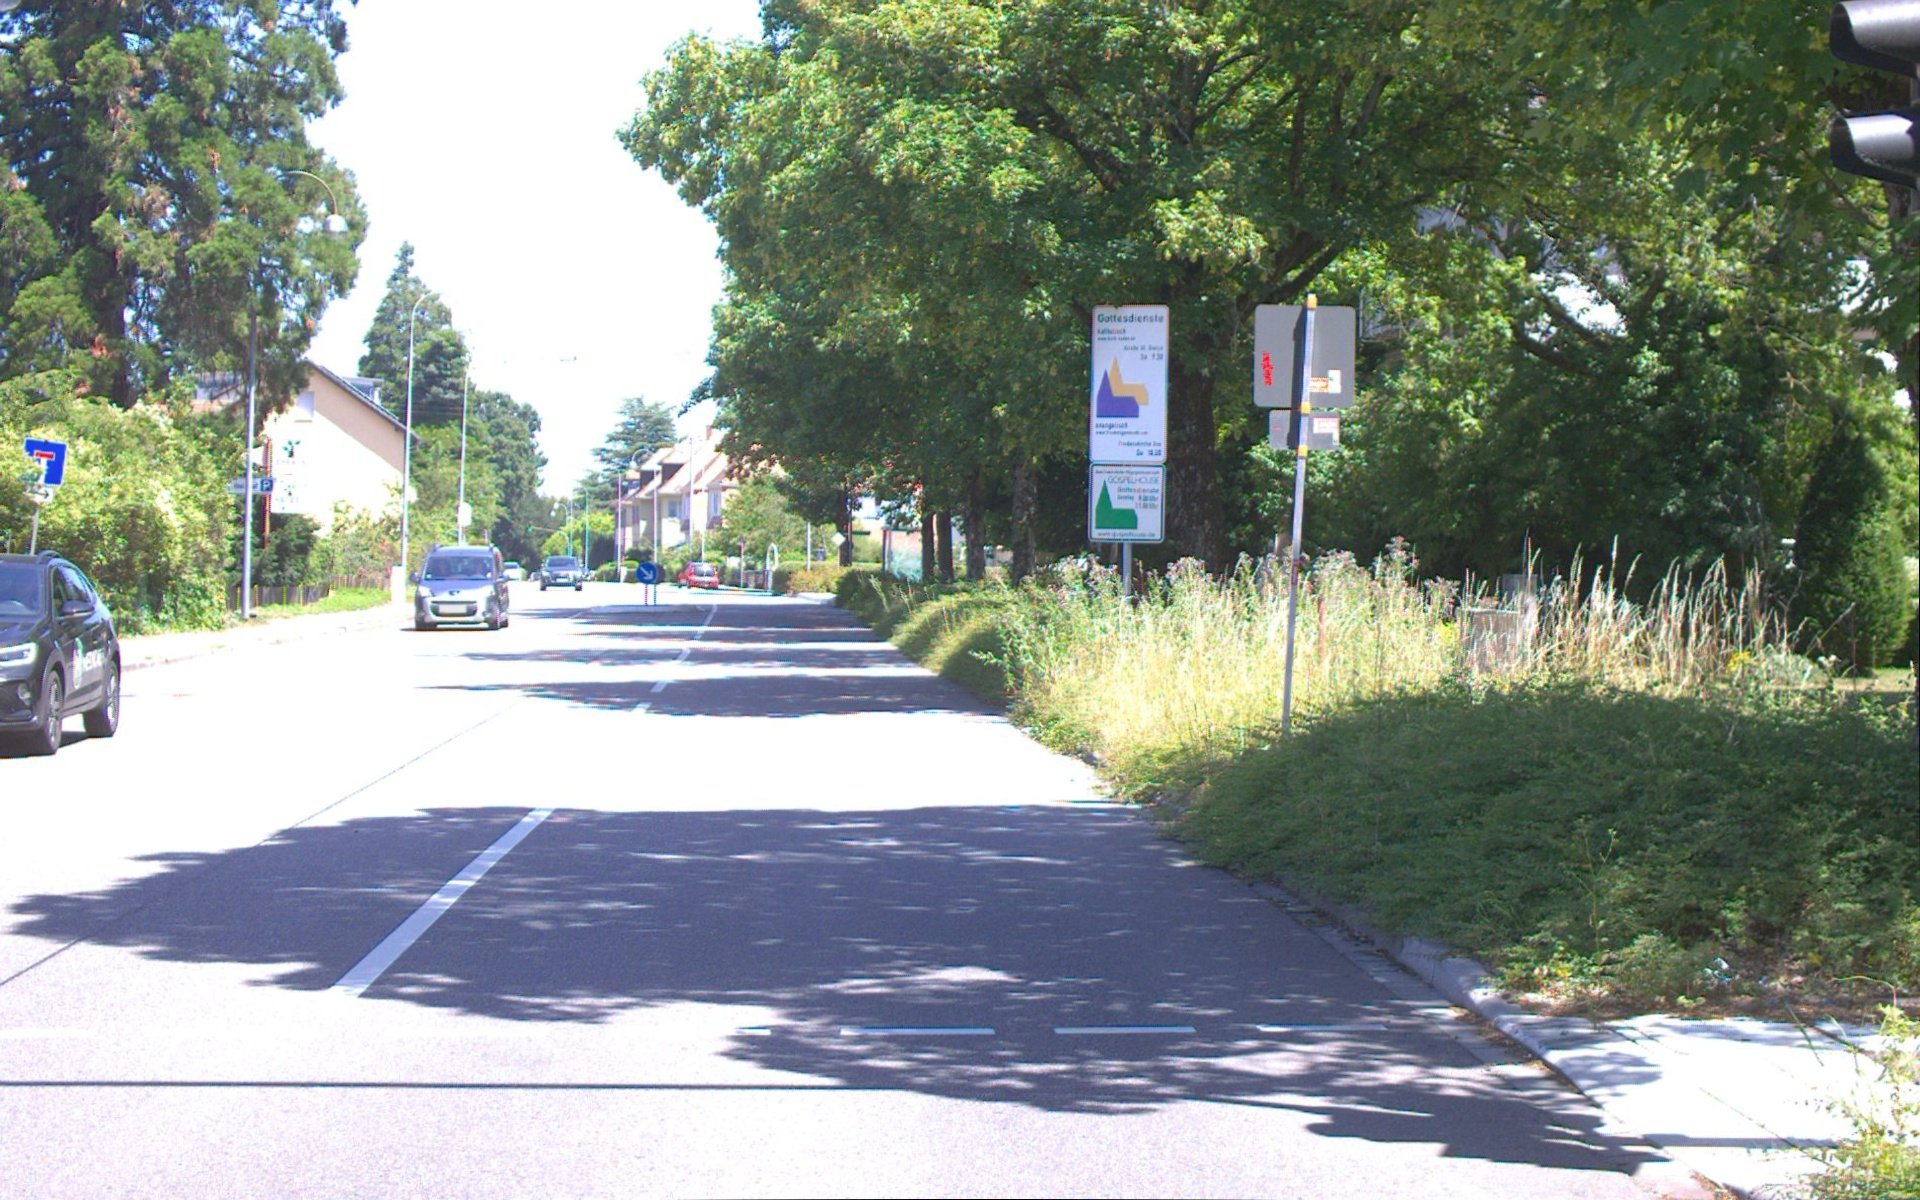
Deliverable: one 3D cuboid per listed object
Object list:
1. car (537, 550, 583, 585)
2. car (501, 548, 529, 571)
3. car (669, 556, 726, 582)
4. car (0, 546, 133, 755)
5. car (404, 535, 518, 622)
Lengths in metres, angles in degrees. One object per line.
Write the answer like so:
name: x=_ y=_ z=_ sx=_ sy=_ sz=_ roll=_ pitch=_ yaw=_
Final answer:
car: x=-17.980 y=-1.471 z=154.605 sx=1.793 sy=1.531 sz=4.316 roll=0 pitch=1 yaw=-3
car: x=-33.604 y=-3.045 z=259.570 sx=1.680 sy=1.678 sz=4.000 roll=0 pitch=1 yaw=-2
car: x=-13.859 y=-1.650 z=181.508 sx=1.943 sy=1.355 sz=4.465 roll=0 pitch=1 yaw=-19
car: x=-7.688 y=0.334 z=26.679 sx=1.869 sy=1.501 sz=4.053 roll=0 pitch=1 yaw=-5
car: x=-10.578 y=-0.485 z=73.161 sx=1.811 sy=1.756 sz=4.570 roll=1 pitch=1 yaw=-1
